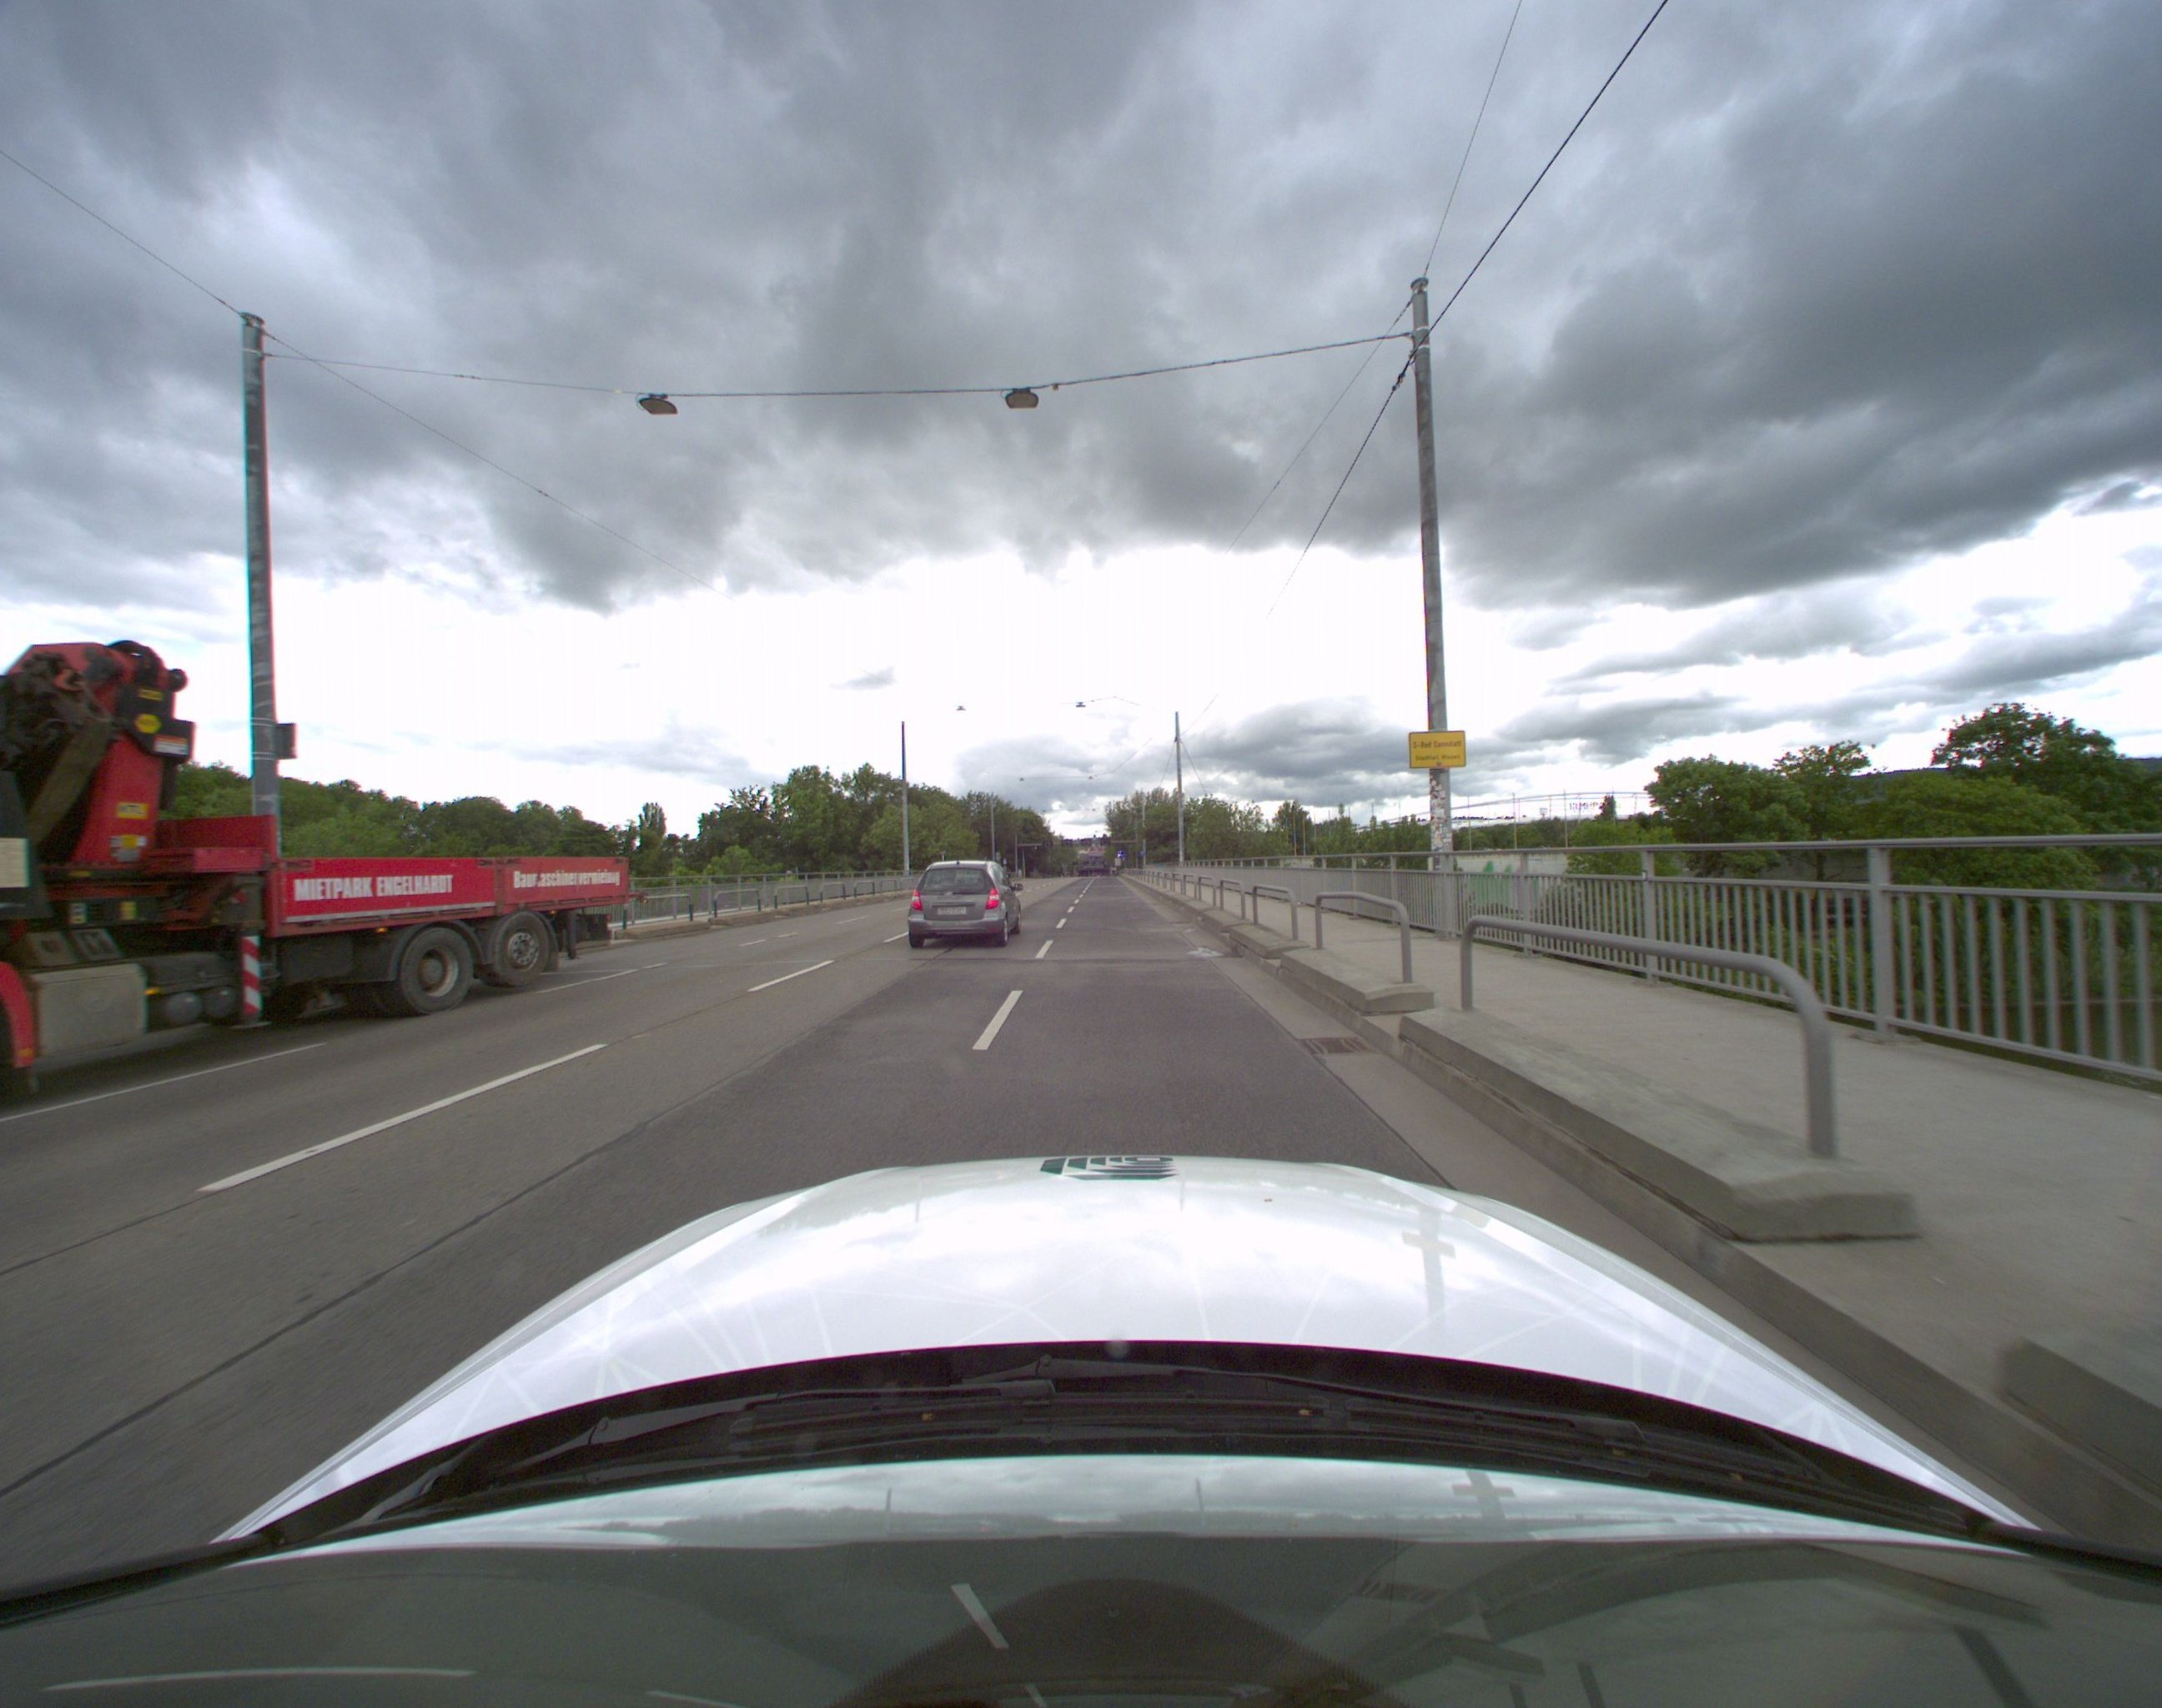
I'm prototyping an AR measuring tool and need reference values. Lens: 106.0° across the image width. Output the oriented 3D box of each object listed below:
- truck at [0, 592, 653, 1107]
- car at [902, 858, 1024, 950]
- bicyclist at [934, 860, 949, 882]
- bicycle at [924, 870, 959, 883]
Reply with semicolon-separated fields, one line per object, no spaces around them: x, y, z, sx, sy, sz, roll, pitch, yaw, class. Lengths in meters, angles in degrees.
-8.881;0.040;8.698;2.995;3.566;9.984;-3;0;1;truck
-2.178;0.875;16.032;1.739;1.550;3.872;-1;0;1;car
-11.701;1.441;68.398;1.130;1.764;0.904;-1;-1;-4;bicyclist
-11.685;1.897;68.385;2.785;1.051;0.919;-2;-1;-4;bicycle
